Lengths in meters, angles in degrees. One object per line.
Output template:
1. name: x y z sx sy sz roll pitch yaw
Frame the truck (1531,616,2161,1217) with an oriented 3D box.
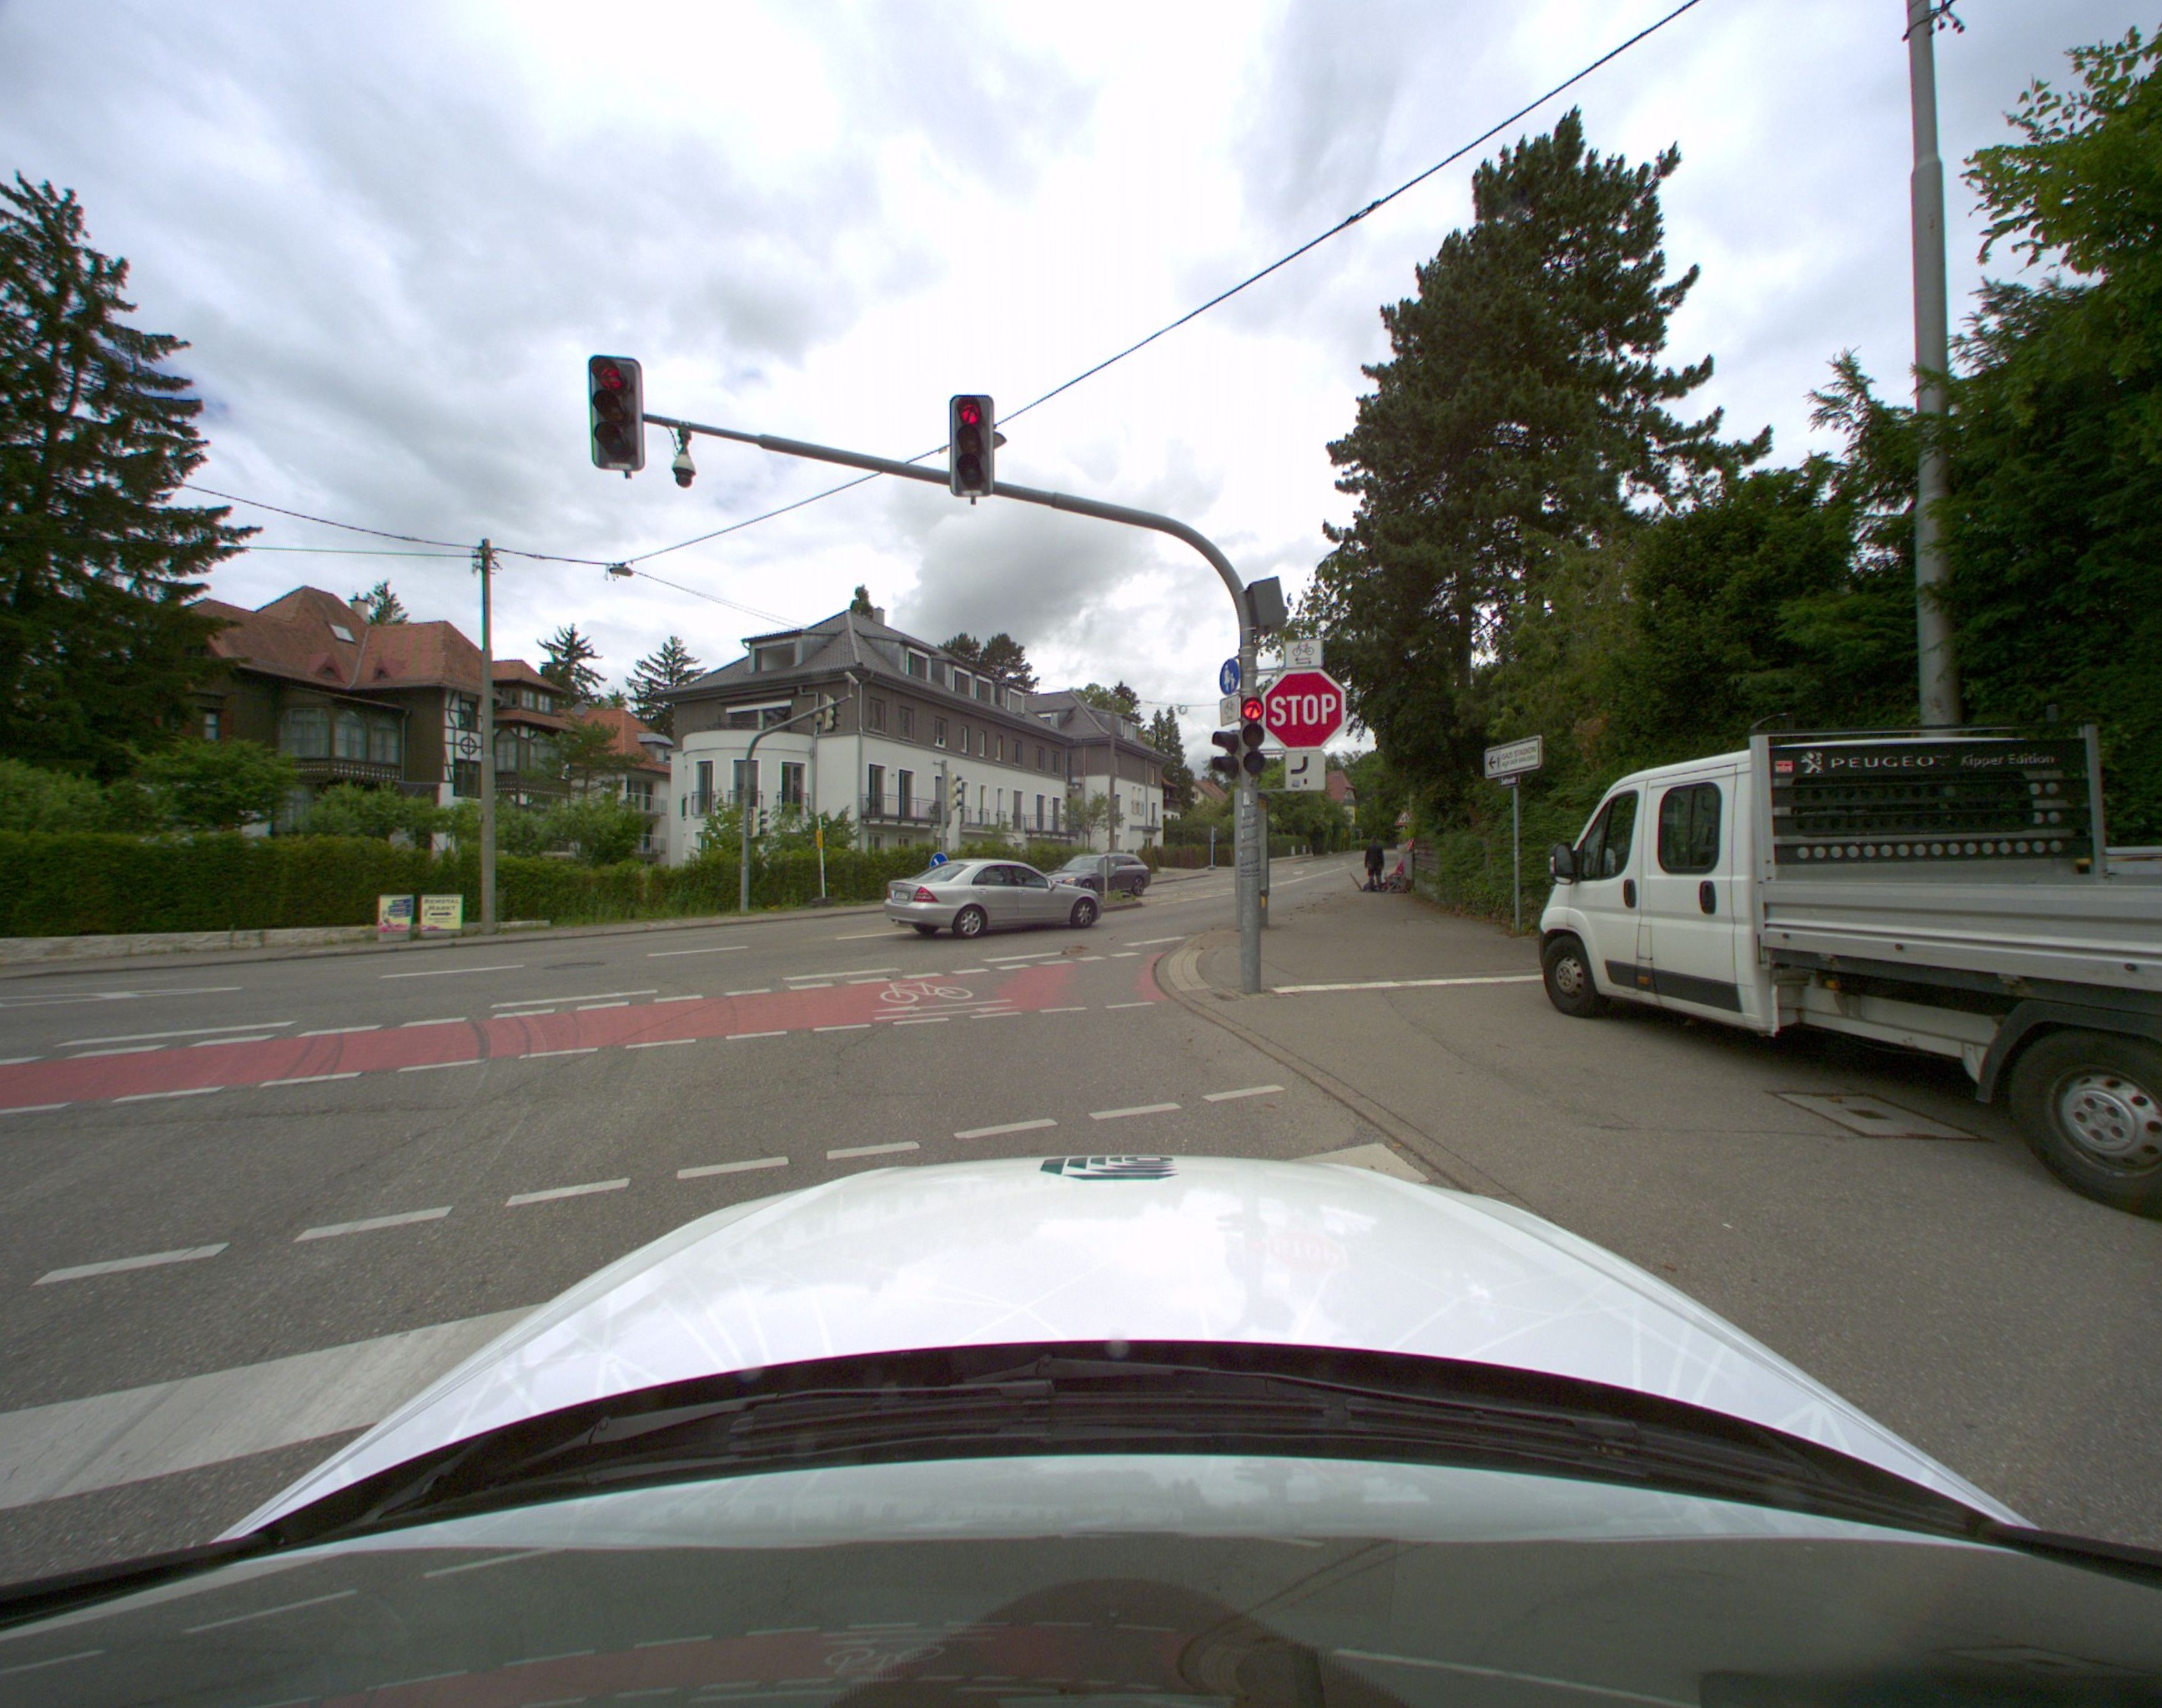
1. truck: 5.262 0.234 4.952 2.198 2.243 5.729 0 0 4

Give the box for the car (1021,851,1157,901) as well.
1. car: 0.371 0.657 26.310 1.920 1.403 4.773 -1 0 36

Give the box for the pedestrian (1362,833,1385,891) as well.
1. pedestrian: 9.819 0.261 27.363 0.594 1.907 0.559 0 -1 2

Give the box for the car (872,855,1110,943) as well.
1. car: -1.640 0.770 15.913 4.449 1.413 1.689 -1 0 -41
